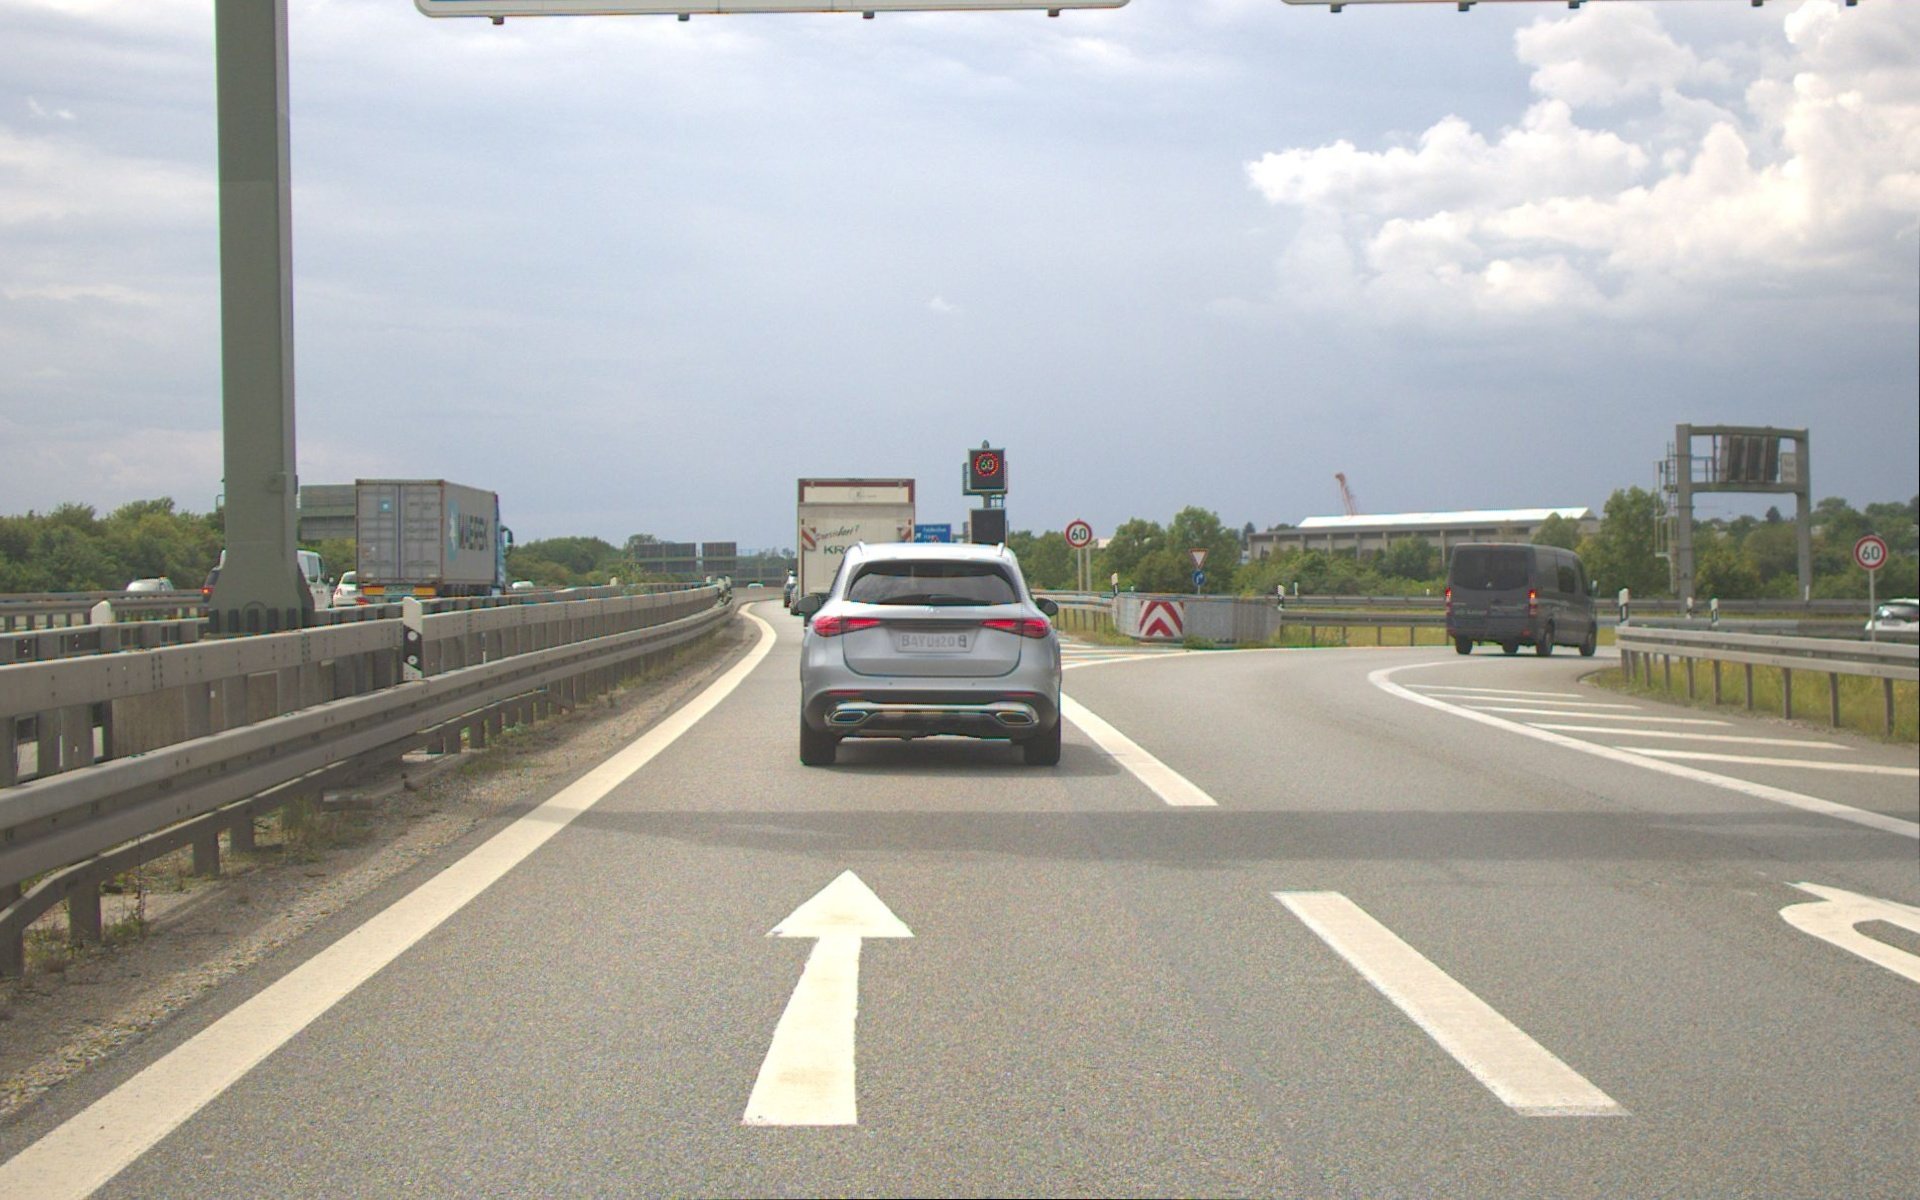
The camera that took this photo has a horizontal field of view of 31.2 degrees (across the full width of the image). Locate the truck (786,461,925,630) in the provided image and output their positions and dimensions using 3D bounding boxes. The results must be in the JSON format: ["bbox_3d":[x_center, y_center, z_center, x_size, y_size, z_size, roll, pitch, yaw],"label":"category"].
[{"bbox_3d":[-2.006,-1.027,68.166,2.569,3.115,8.634,0,0,-1],"label":"truck"}]

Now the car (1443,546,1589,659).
[{"bbox_3d":[11.738,0.007,72.339,1.909,2.254,4.643,1,2,24],"label":"car"}]

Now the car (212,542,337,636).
[{"bbox_3d":[-15.486,-0.281,77.873,1.993,2.007,4.375,0,1,-1],"label":"car"}]

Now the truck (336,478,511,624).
[{"bbox_3d":[-15.800,-1.550,102.537,3.183,4.005,16.077,0,1,-2],"label":"truck"}]

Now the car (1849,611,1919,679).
[{"bbox_3d":[26.295,1.215,94.370,1.998,1.703,3.990,2,2,43],"label":"car"}]

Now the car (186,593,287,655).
[{"bbox_3d":[-19.711,0.628,93.854,1.881,1.541,4.615,0,1,-1],"label":"car"}]

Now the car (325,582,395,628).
[{"bbox_3d":[-20.118,0.149,115.403,1.797,1.415,4.001,0,1,-3],"label":"car"}]

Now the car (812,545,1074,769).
[{"bbox_3d":[-0.142,0.366,25.945,1.819,1.509,4.000,0,1,-1],"label":"car"}]
